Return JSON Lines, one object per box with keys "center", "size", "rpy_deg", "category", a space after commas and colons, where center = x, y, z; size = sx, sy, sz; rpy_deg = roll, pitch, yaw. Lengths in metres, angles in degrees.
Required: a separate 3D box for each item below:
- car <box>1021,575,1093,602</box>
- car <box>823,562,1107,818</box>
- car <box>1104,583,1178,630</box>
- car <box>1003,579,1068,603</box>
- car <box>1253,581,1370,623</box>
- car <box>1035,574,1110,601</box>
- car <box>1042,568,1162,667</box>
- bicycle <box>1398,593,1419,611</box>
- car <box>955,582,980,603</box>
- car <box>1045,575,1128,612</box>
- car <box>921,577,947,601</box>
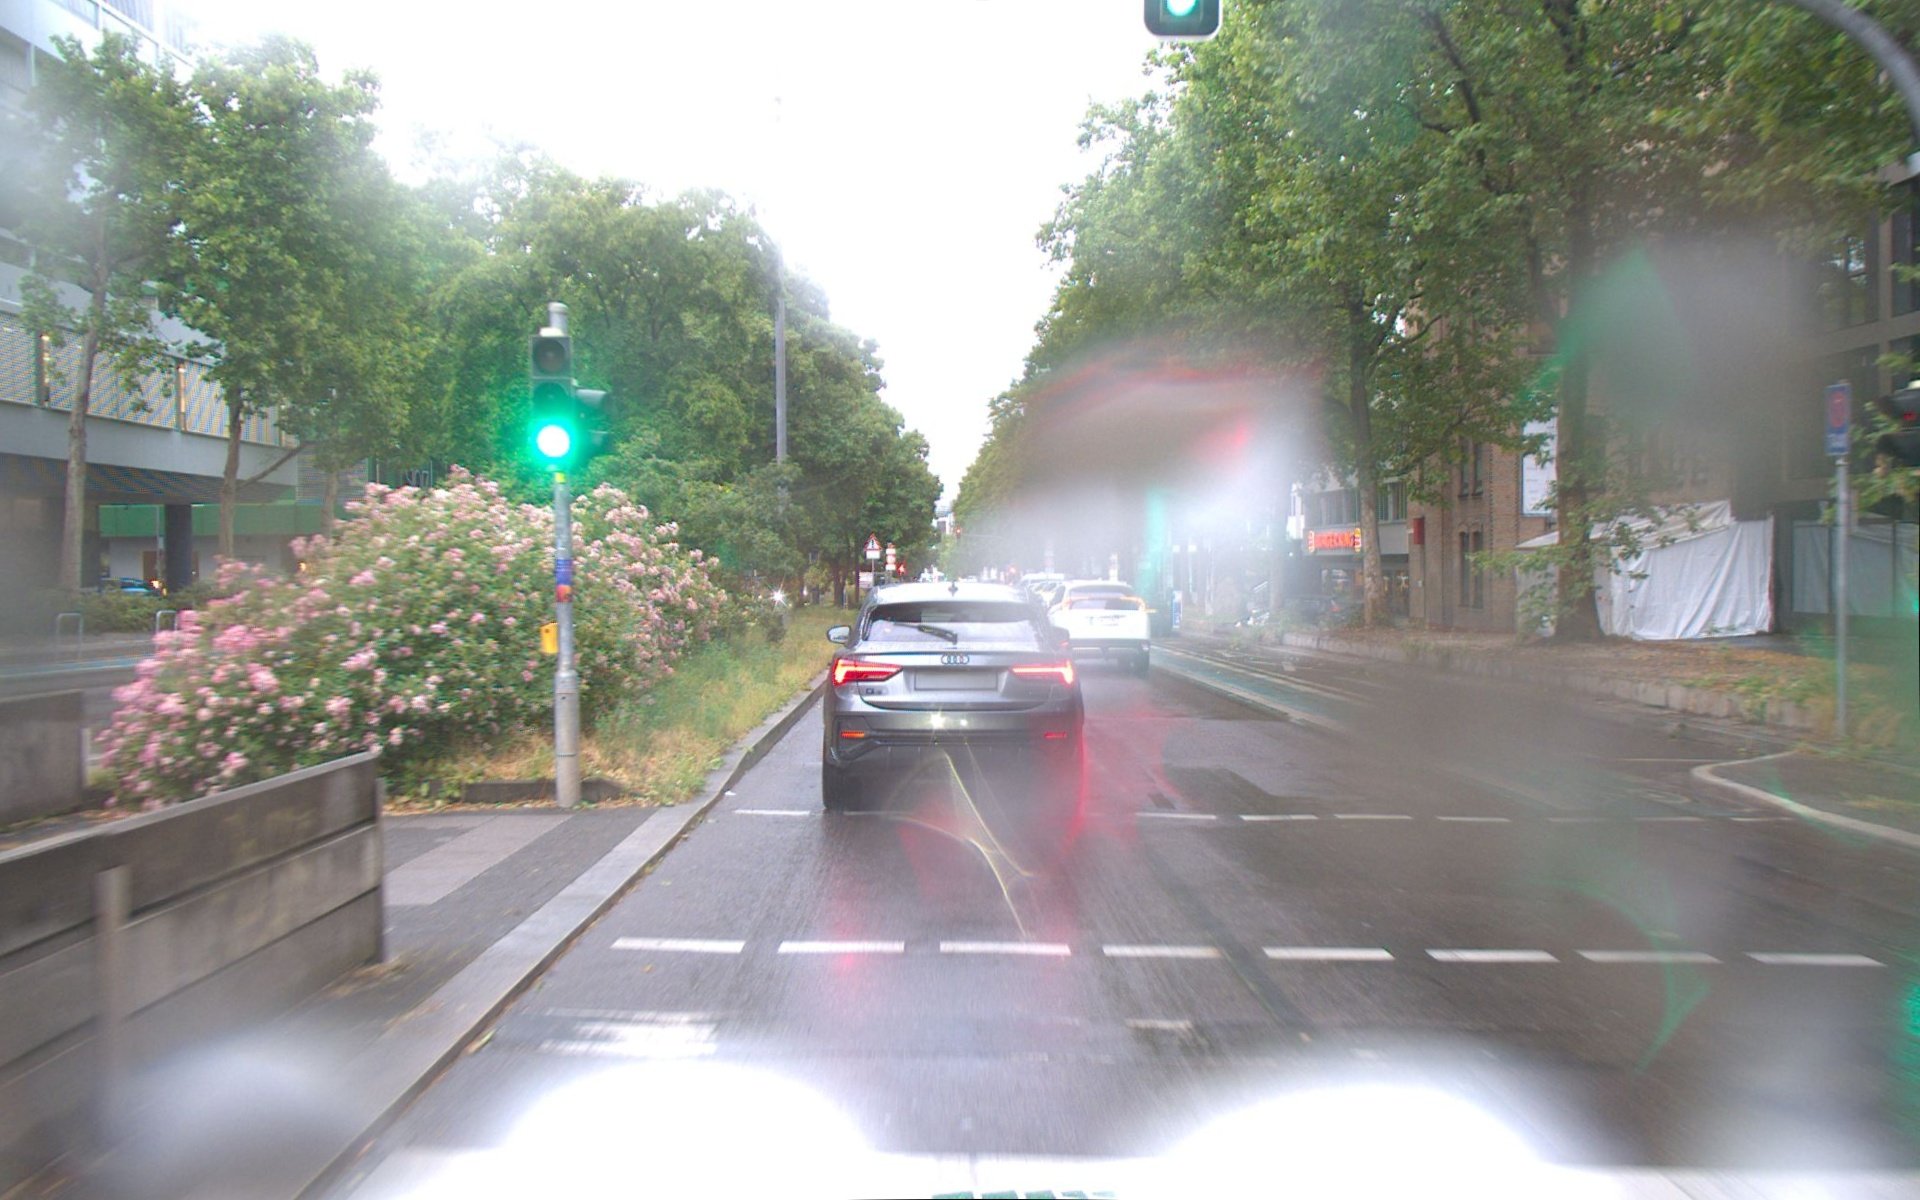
{"center": [6.656, -0.791, 113.526], "size": [4.548, 1.736, 1.998], "rpy_deg": [1, 0, 27], "category": "car"}
{"center": [-0.040, 0.564, 12.552], "size": [1.812, 1.630, 3.998], "rpy_deg": [0, 0, -2], "category": "car"}
{"center": [5.992, 0.200, 55.268], "size": [1.835, 1.446, 4.610], "rpy_deg": [1, 0, -1], "category": "car"}
{"center": [5.811, -0.698, 127.370], "size": [4.548, 1.736, 1.998], "rpy_deg": [1, 0, 27], "category": "car"}
{"center": [9.638, 0.053, 45.385], "size": [2.830, 1.093, 1.453], "rpy_deg": [1, 0, 30], "category": "car"}
{"center": [7.490, -0.838, 109.850], "size": [4.548, 1.736, 1.998], "rpy_deg": [1, 0, 27], "category": "car"}
{"center": [2.629, 0.309, 31.433], "size": [1.840, 1.727, 3.999], "rpy_deg": [1, 0, -1], "category": "car"}
{"center": [21.888, 0.087, 80.783], "size": [0.439, 0.851, 2.026], "rpy_deg": [1, 0, -1], "category": "bicycle"}
{"center": [0.589, -0.584, 137.736], "size": [1.953, 1.680, 3.999], "rpy_deg": [1, 0, -1], "category": "car"}
{"center": [7.333, -0.381, 96.122], "size": [4.517, 2.049, 1.960], "rpy_deg": [1, 0, 37], "category": "car"}
{"center": [-2.025, -0.831, 127.602], "size": [1.953, 1.757, 3.998], "rpy_deg": [1, 0, -2], "category": "car"}
